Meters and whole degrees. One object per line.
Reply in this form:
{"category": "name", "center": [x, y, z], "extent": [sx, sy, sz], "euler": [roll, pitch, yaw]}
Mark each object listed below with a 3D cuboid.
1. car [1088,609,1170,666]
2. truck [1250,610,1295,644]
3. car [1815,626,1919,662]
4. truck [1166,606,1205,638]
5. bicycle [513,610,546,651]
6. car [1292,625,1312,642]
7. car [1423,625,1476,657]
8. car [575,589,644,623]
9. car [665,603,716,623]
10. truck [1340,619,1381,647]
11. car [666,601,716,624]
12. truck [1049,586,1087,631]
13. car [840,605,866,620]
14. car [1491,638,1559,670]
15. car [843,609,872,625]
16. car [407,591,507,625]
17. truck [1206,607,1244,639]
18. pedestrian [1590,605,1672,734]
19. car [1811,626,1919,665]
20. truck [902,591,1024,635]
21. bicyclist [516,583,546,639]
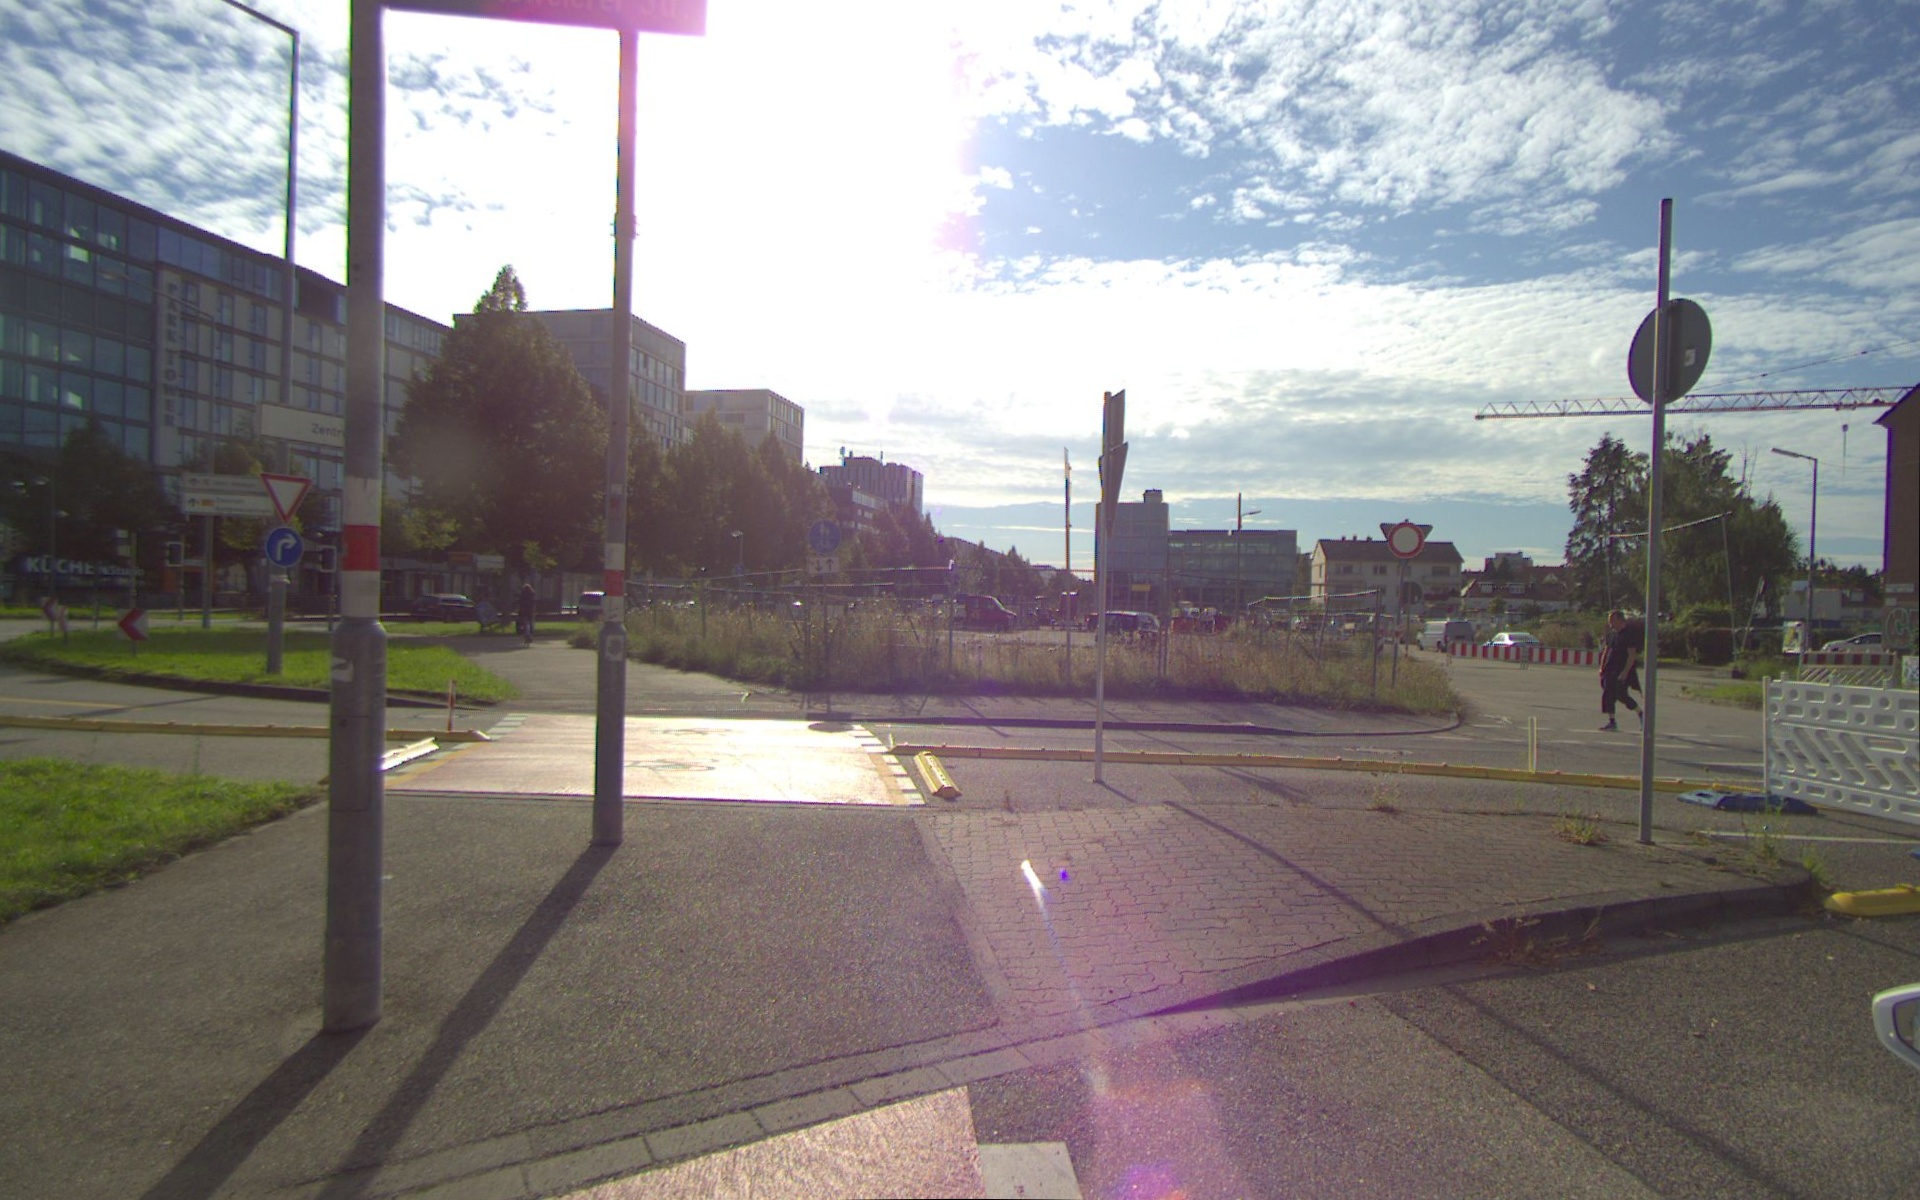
{"category": "car", "center": [6.063, 1.290, 35.675], "extent": [1.850, 1.840, 3.997], "euler": [2, -1, 24]}
{"category": "truck", "center": [23.806, 2.013, 76.763], "extent": [2.247, 2.359, 5.642], "euler": [2, 0, 7]}
{"category": "car", "center": [46.781, 2.222, 51.858], "extent": [3.938, 1.639, 1.766], "euler": [2, 0, 39]}
{"category": "truck", "center": [17.488, 1.673, 78.301], "extent": [2.287, 2.359, 6.457], "euler": [2, 0, 7]}
{"category": "bicycle", "center": [-12.112, 0.835, 28.314], "extent": [0.694, 1.077, 2.195], "euler": [1, 0, -19]}
{"category": "car", "center": [38.490, 3.753, 113.192], "extent": [1.960, 1.884, 4.001], "euler": [2, -1, 17]}
{"category": "car", "center": [30.700, 2.557, 63.110], "extent": [1.847, 1.840, 4.003], "euler": [2, 0, 9]}
{"category": "car", "center": [-21.604, 0.365, 62.096], "extent": [1.863, 1.928, 4.663], "euler": [3, 1, 10]}
{"category": "car", "center": [-20.850, 0.975, 77.876], "extent": [1.863, 1.450, 4.663], "euler": [3, 1, 11]}
{"category": "truck", "center": [33.501, 2.737, 84.111], "extent": [1.940, 2.200, 5.409], "euler": [2, -1, 9]}
{"category": "car", "center": [-20.897, 0.957, 78.123], "extent": [1.863, 1.655, 4.664], "euler": [2, 0, 11]}
{"category": "truck", "center": [8.567, 0.667, 79.039], "extent": [2.759, 3.250, 7.320], "euler": [2, 0, 7]}
{"category": "car", "center": [-11.839, 1.380, 111.387], "extent": [1.863, 1.632, 4.663], "euler": [2, 0, 6]}
{"category": "car", "center": [29.144, 2.747, 51.947], "extent": [1.686, 1.411, 4.003], "euler": [2, -1, 9]}
{"category": "car", "center": [-11.280, 1.850, 111.087], "extent": [1.863, 1.632, 4.664], "euler": [2, 0, 11]}
{"category": "car", "center": [-26.379, 0.453, 52.907], "extent": [1.960, 1.587, 4.848], "euler": [4, -1, 14]}
{"category": "truck", "center": [20.469, 1.757, 77.775], "extent": [2.022, 2.359, 5.642], "euler": [2, 0, 7]}
{"category": "pedestrian", "center": [10.203, 1.043, 15.289], "extent": [0.824, 1.895, 0.665], "euler": [2, 0, -24]}
{"category": "car", "center": [43.005, 2.137, 47.508], "extent": [1.759, 1.639, 3.952], "euler": [2, 0, -41]}
{"category": "truck", "center": [0.251, 0.852, 67.934], "extent": [7.700, 2.601, 3.076], "euler": [2, 0, 11]}
{"category": "bicyclist", "center": [-12.112, 0.316, 28.383], "extent": [0.695, 1.531, 1.005], "euler": [1, 0, -21]}
